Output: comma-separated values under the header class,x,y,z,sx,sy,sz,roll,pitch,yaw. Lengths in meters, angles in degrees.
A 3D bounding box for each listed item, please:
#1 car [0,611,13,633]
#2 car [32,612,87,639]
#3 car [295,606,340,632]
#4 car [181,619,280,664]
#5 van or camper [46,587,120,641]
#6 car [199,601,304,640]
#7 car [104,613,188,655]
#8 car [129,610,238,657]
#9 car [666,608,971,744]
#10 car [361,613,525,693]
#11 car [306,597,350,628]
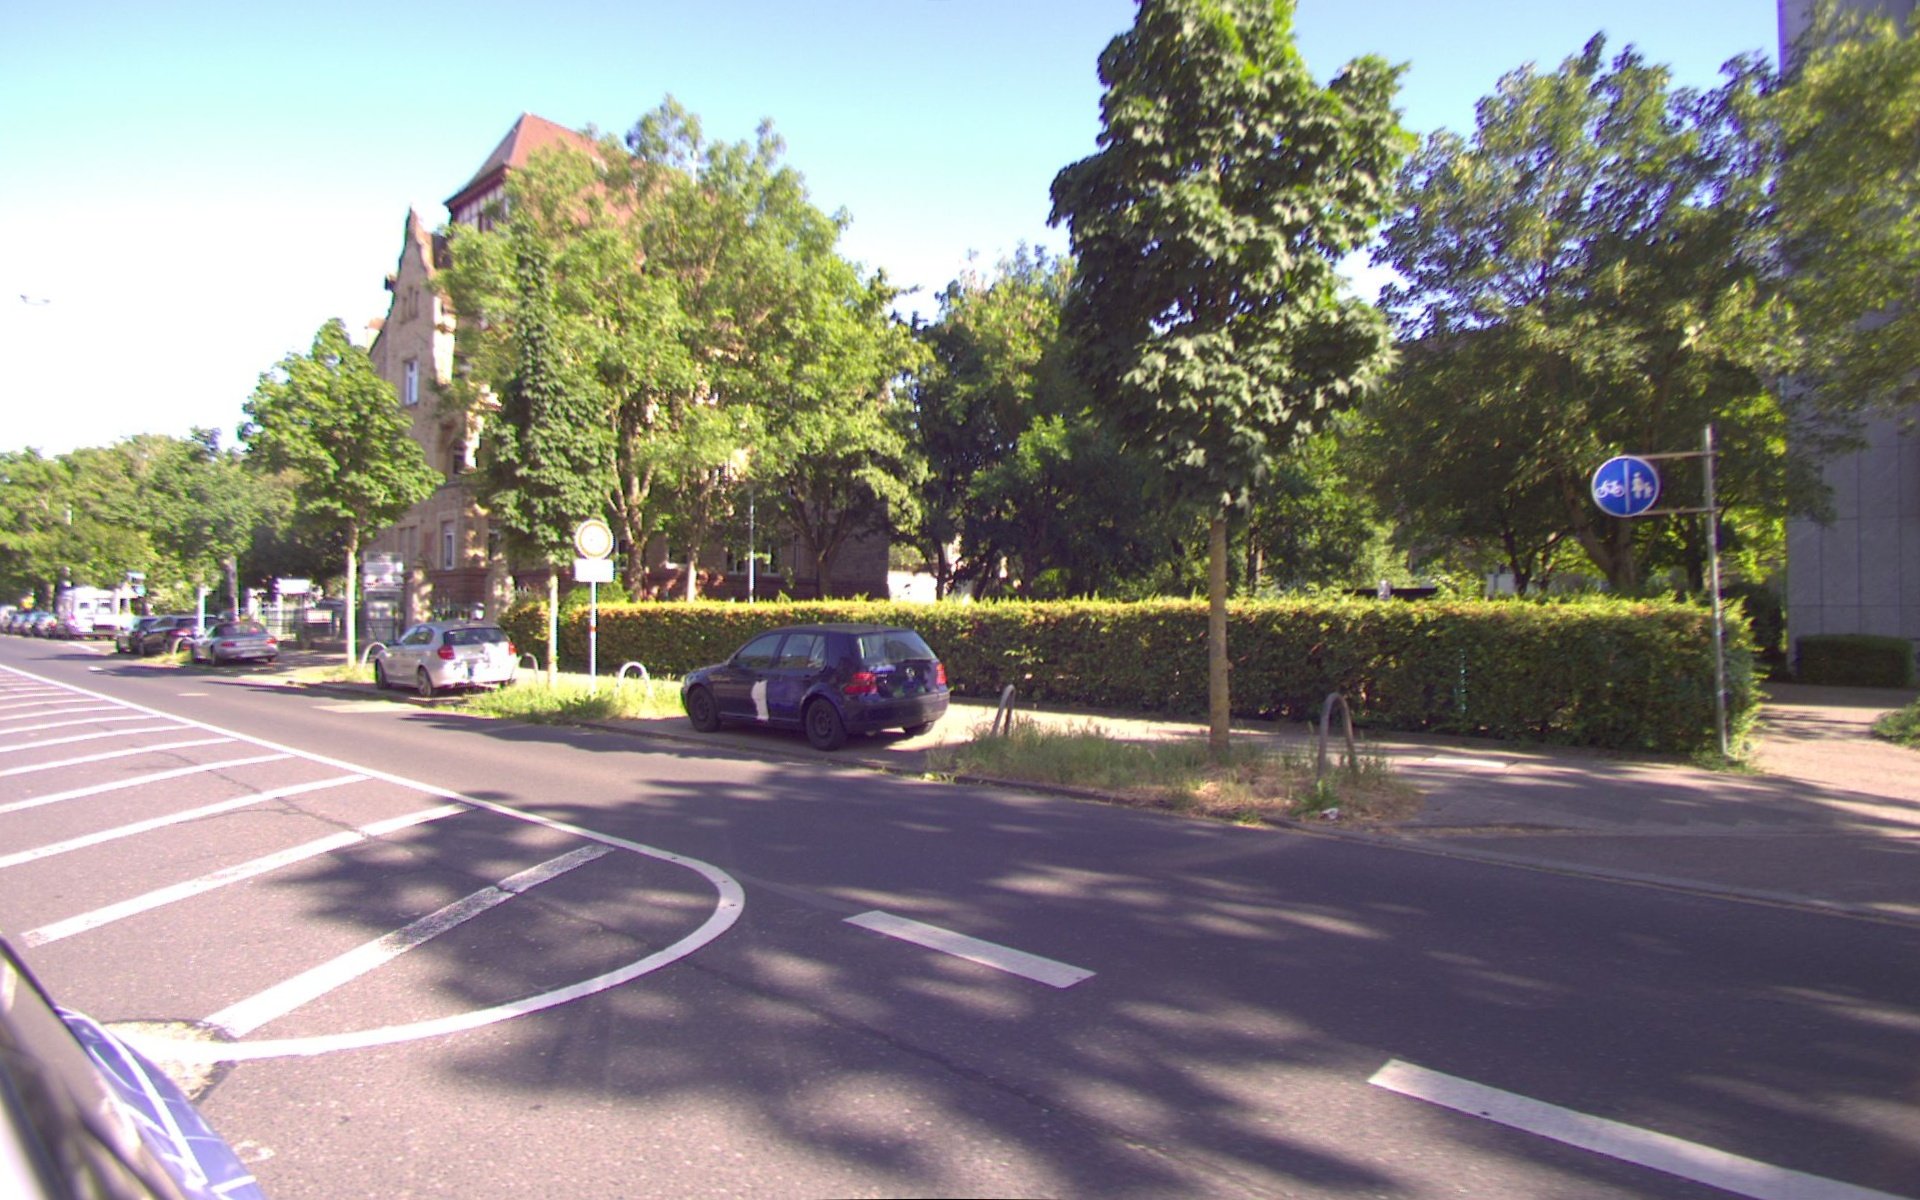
class,x,y,z,sx,sy,sz,roll,pitch,yaw
car,-69.337,1.572,72.714,3.957,1.513,1.448,0,-2,42
car,-51.748,1.449,58.136,4.659,1.468,1.676,-1,-3,40
car,-39.693,1.153,62.575,1.833,1.524,3.541,2,-1,-25
car,-22.380,1.225,31.003,4.013,1.265,1.660,-1,0,42
van or camper,-47.448,0.763,54.692,6.085,2.760,2.193,-1,-1,41
car,-35.561,0.996,50.925,1.977,1.682,4.135,-3,1,8
car,-32.334,1.299,40.167,4.719,1.438,1.836,-1,3,42
car,-27.812,1.169,36.219,4.697,1.505,1.839,-1,2,37
car,-1.933,0.850,13.009,4.072,1.470,1.693,-1,0,43
car,-10.527,0.995,20.473,4.192,1.393,1.669,-1,1,44
car,-41.847,0.817,67.100,1.833,1.928,4.467,2,-1,-24
